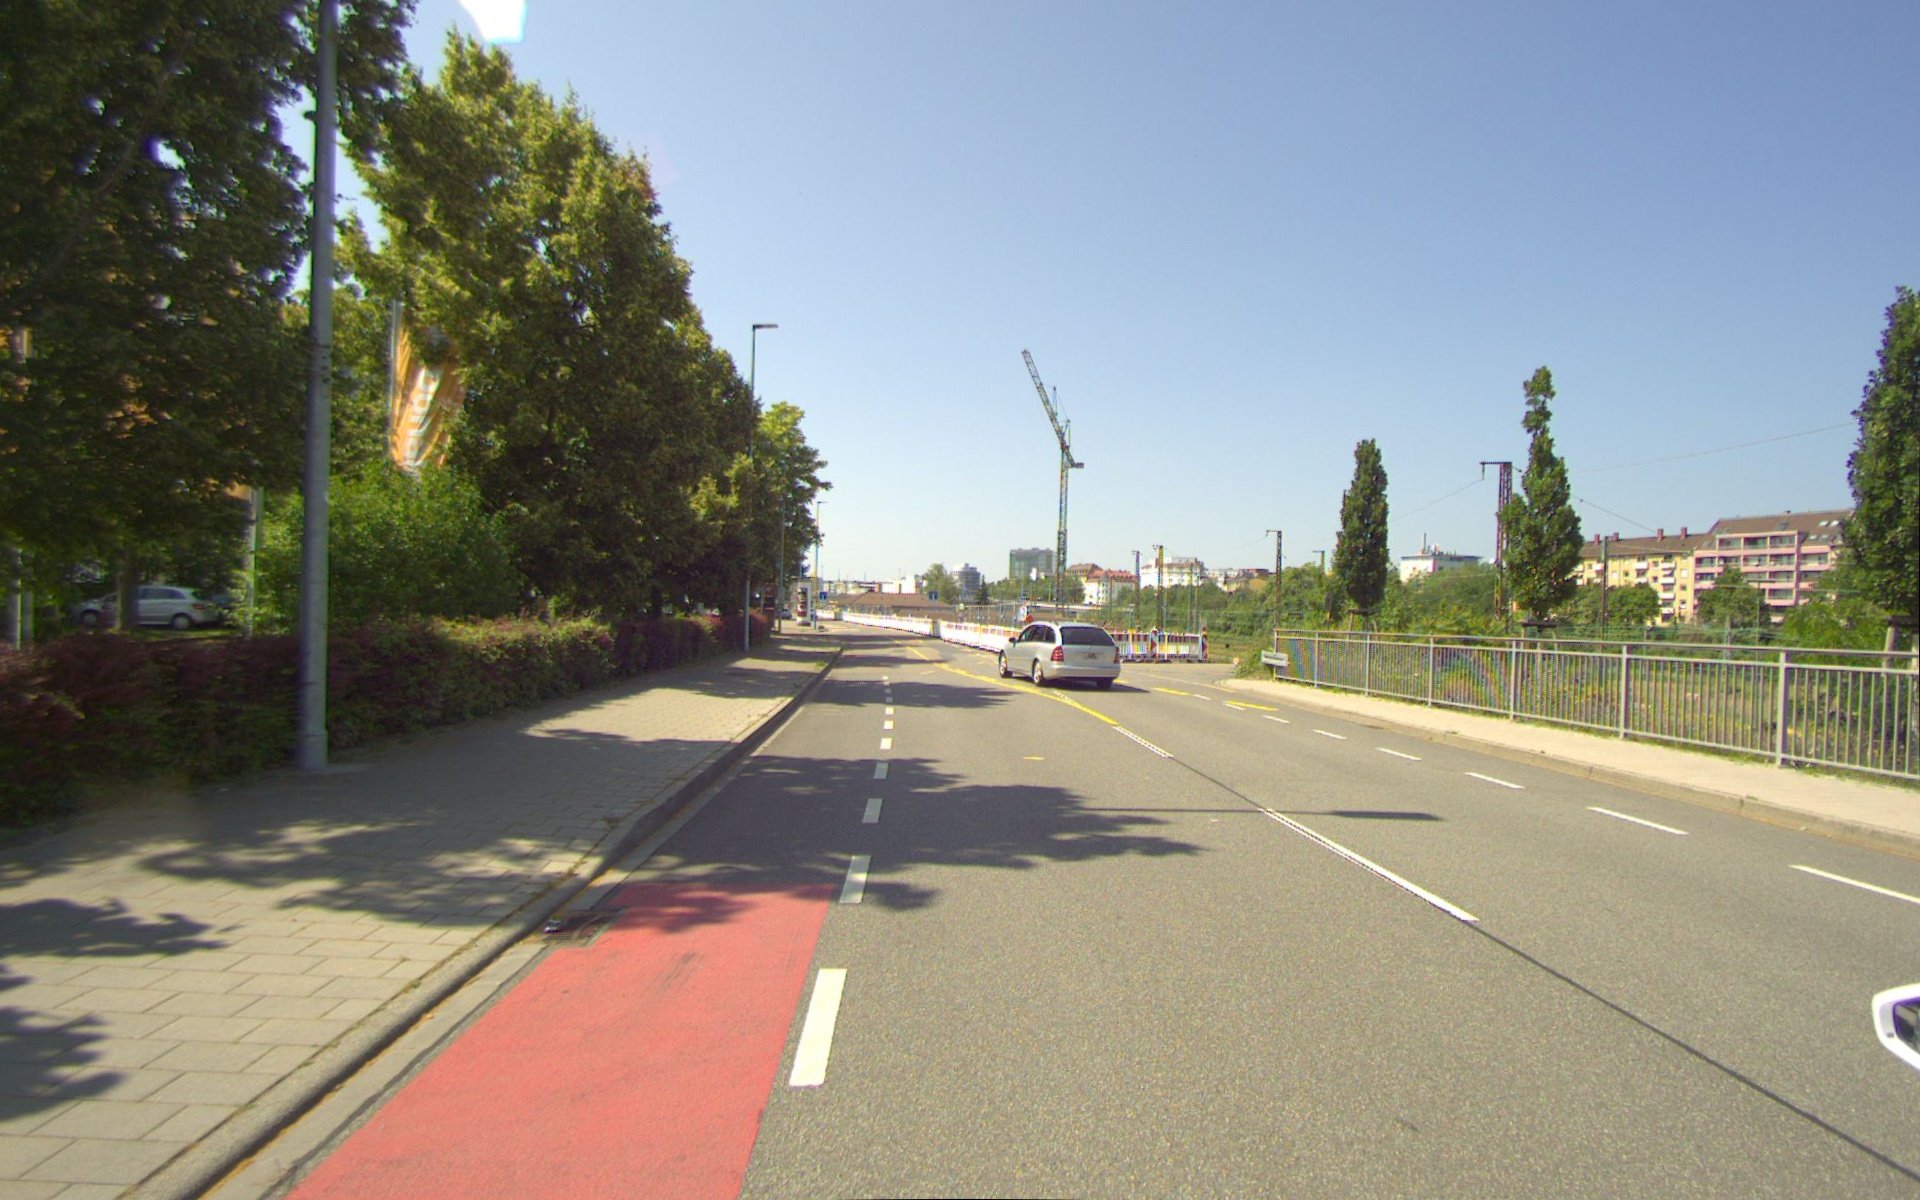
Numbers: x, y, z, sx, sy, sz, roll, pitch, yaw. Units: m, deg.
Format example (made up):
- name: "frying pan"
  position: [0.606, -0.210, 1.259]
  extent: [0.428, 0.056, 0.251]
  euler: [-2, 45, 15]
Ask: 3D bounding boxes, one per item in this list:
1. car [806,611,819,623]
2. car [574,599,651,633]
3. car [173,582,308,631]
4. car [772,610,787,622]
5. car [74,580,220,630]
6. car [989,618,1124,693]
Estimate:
- name: "car"
  position: [-20.512, 2.353, 139.709]
  extent: [1.653, 1.513, 4.596]
  euler: [1, -1, -11]
- name: "car"
  position: [-21.819, 1.009, 63.056]
  extent: [4.441, 1.946, 1.890]
  euler: [-2, 0, 26]
- name: "car"
  position: [-28.733, 0.275, 40.241]
  extent: [3.960, 1.755, 1.795]
  euler: [3, -1, -18]
- name: "car"
  position: [-23.606, 2.046, 131.231]
  extent: [1.841, 1.518, 4.024]
  euler: [0, 0, -10]
- name: "car"
  position: [-29.896, 0.200, 37.072]
  extent: [3.790, 1.608, 1.636]
  euler: [3, -1, -19]
- name: "car"
  position: [2.051, 1.177, 22.687]
  extent: [1.685, 1.422, 4.376]
  euler: [3, -1, -13]
